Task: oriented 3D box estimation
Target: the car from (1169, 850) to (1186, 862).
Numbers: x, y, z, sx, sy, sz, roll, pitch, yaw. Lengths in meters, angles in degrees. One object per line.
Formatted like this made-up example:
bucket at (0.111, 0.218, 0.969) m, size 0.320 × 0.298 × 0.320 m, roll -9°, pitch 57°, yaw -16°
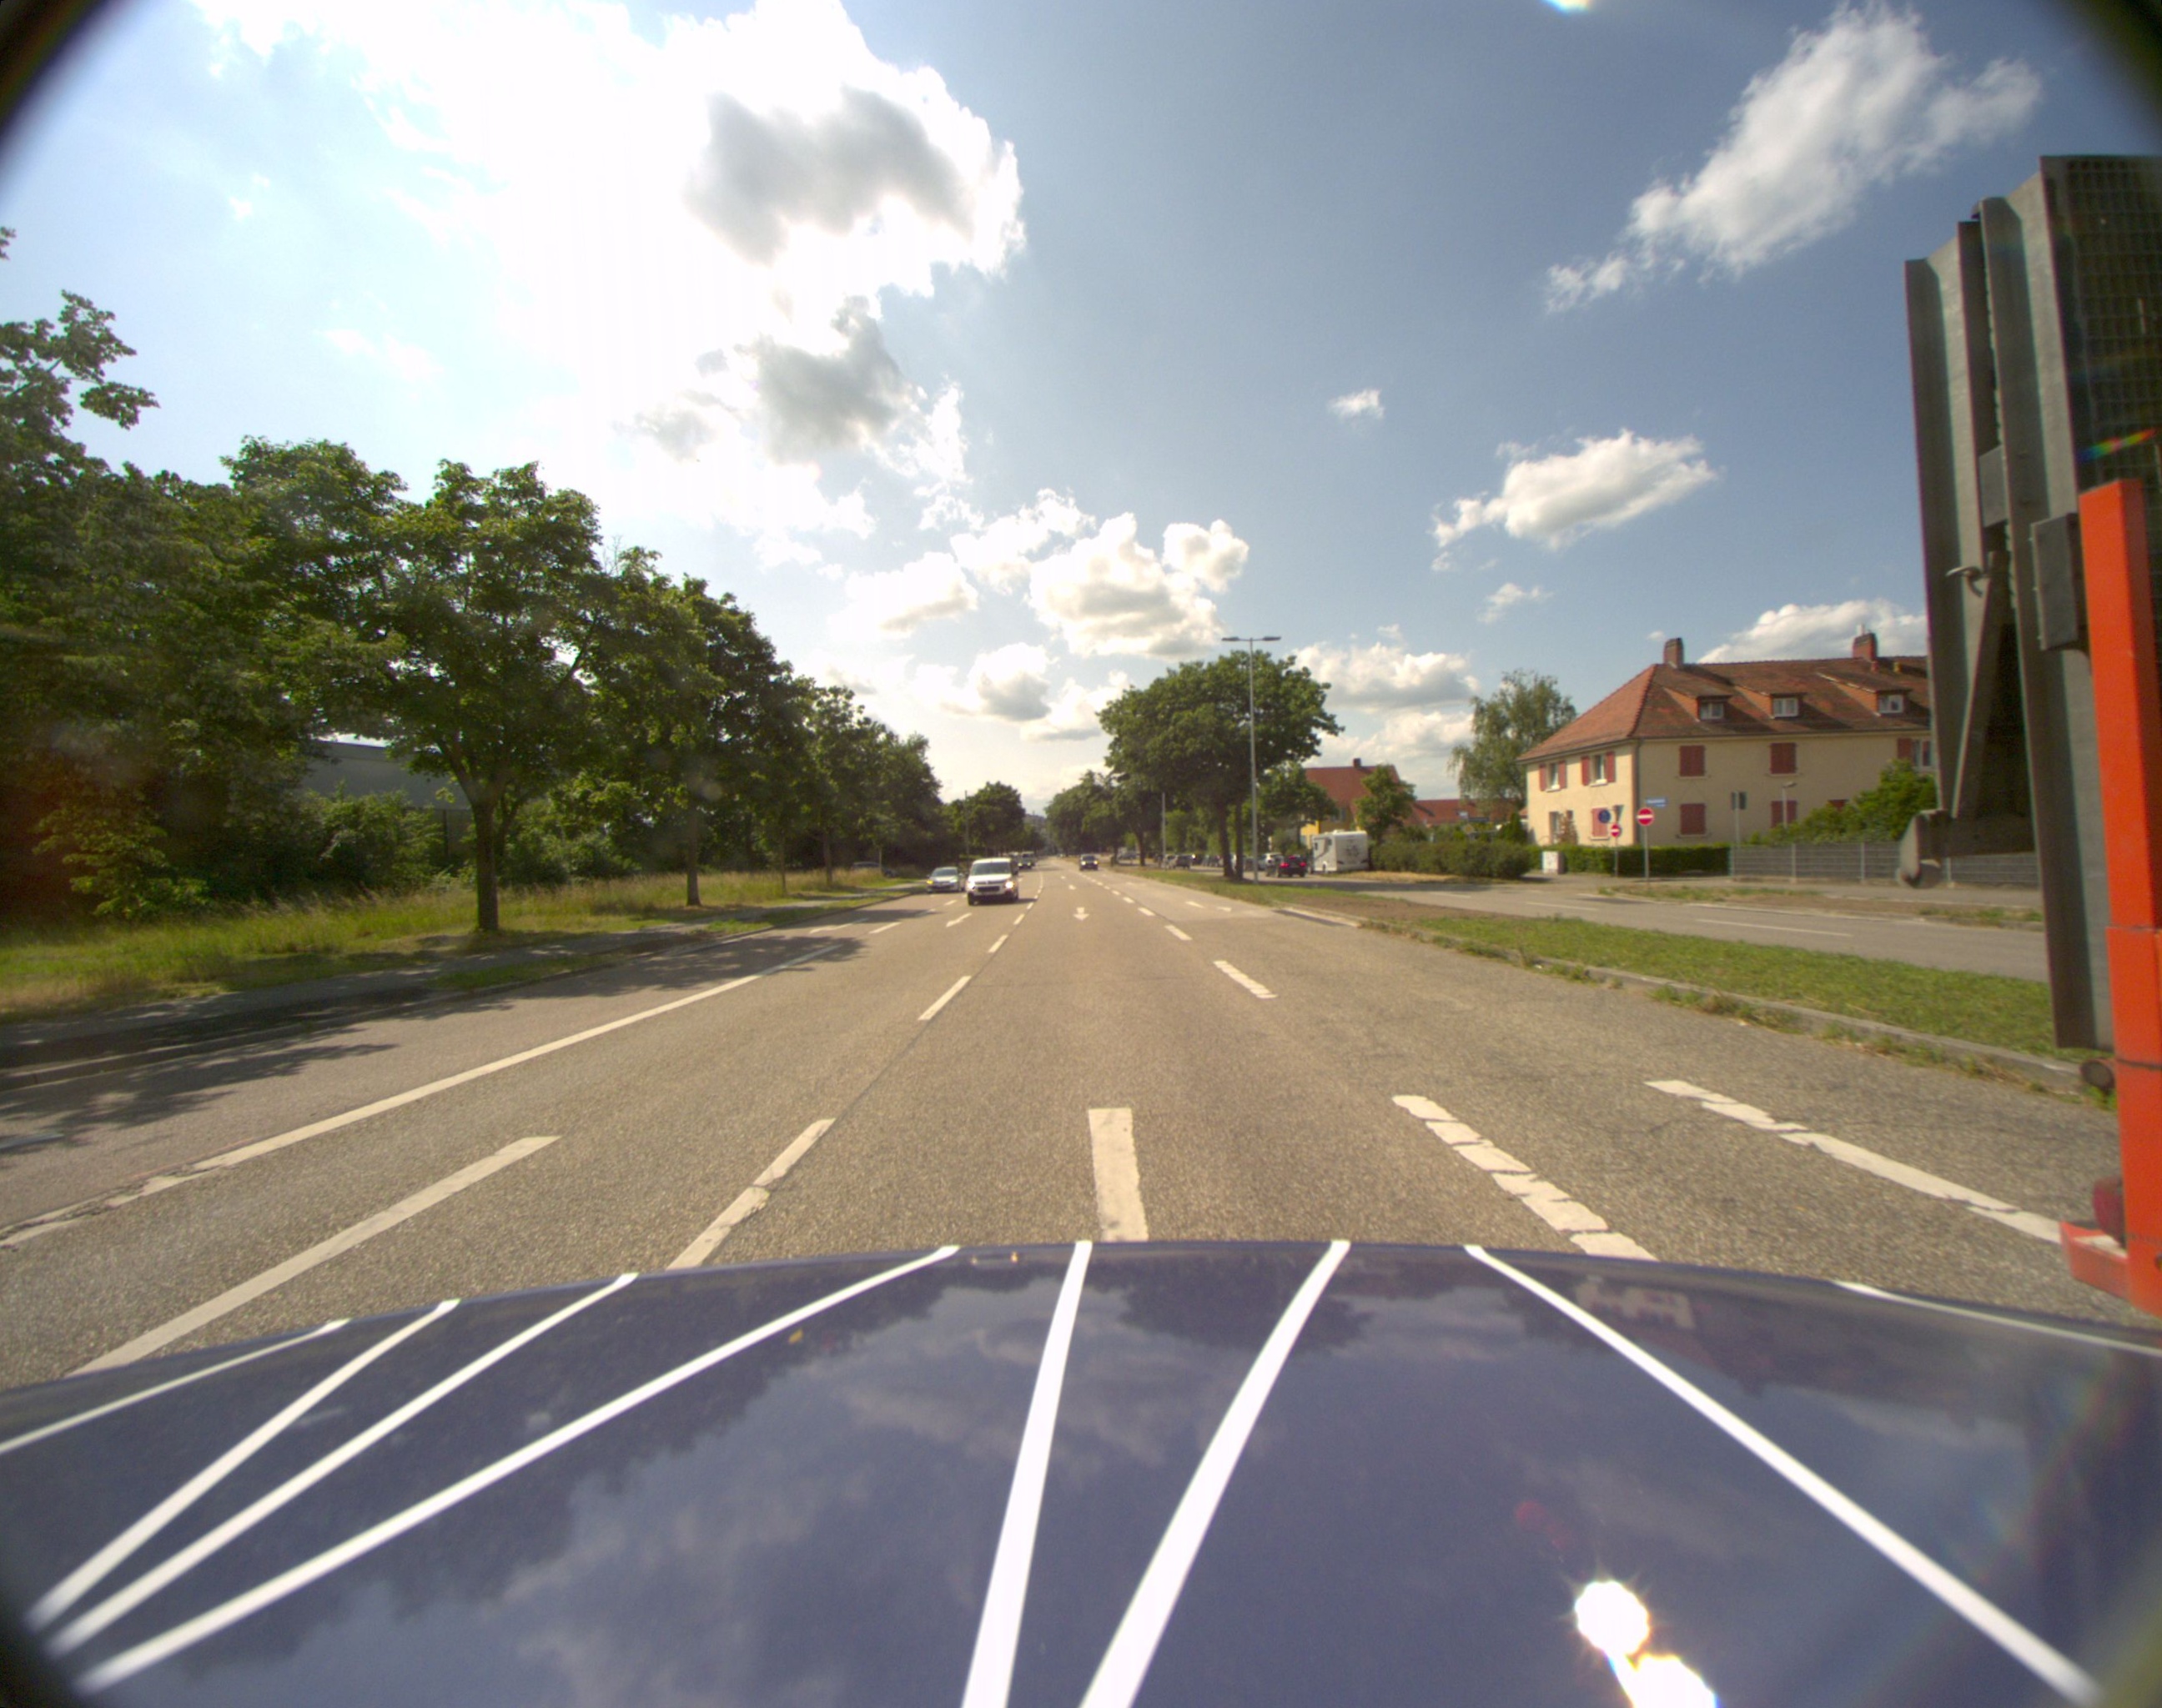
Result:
car at (14.876, 0.258, 117.377) m, size 1.665 × 1.603 × 4.312 m, roll -4°, pitch 1°, yaw -4°

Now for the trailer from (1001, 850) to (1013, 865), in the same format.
trailer at (-12.256, 0.598, 126.079) m, size 1.958 × 2.338 × 4.603 m, roll -1°, pitch 1°, yaw -4°

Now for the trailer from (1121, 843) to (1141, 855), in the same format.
trailer at (14.025, -1.499, 212.253) m, size 2.821 × 3.090 × 5.763 m, roll -4°, pitch 0°, yaw 35°

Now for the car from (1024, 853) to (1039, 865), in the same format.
car at (-7.048, 0.709, 108.007) m, size 1.758 × 1.482 × 3.999 m, roll -4°, pitch 1°, yaw 1°

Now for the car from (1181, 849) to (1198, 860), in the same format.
car at (15.715, 0.100, 110.440) m, size 1.665 × 1.443 × 3.845 m, roll -4°, pitch 1°, yaw -4°

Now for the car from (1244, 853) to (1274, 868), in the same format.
car at (16.955, 0.580, 72.544) m, size 1.640 × 1.298 × 4.583 m, roll -4°, pitch 0°, yaw -1°

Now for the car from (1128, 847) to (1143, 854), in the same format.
car at (13.828, -0.878, 192.466) m, size 1.569 × 1.390 × 4.007 m, roll -2°, pitch 2°, yaw 45°

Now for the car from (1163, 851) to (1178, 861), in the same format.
car at (14.514, 0.274, 123.406) m, size 1.598 × 1.453 × 3.533 m, roll -4°, pitch 1°, yaw -4°

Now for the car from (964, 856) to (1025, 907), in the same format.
car at (-3.395, 1.033, 30.629) m, size 1.936 × 1.774 × 4.715 m, roll -4°, pitch 0°, yaw -2°

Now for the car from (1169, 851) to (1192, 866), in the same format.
car at (10.548, 0.459, 80.858) m, size 1.737 × 1.499 × 4.651 m, roll 1°, pitch 1°, yaw -1°

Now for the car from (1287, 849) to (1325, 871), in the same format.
car at (17.553, 0.428, 59.340) m, size 1.640 × 1.477 × 3.991 m, roll -4°, pitch 1°, yaw -1°

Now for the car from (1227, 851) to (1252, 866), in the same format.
car at (16.444, 0.440, 79.190) m, size 1.514 × 1.362 × 4.530 m, roll -4°, pitch 0°, yaw -1°

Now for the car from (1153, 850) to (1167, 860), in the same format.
car at (13.937, 0.157, 134.179) m, size 1.772 × 1.543 × 3.998 m, roll -4°, pitch 1°, yaw -4°

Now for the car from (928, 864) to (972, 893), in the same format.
car at (-7.465, 1.361, 43.682) m, size 1.737 × 1.477 × 4.092 m, roll -2°, pitch 0°, yaw 0°

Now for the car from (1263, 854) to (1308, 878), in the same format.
car at (13.446, 0.747, 50.220) m, size 1.776 × 1.430 × 4.575 m, roll -1°, pitch 1°, yaw 0°

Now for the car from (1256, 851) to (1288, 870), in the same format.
car at (16.969, 0.520, 67.674) m, size 1.693 × 1.477 × 4.123 m, roll -4°, pitch 1°, yaw -1°

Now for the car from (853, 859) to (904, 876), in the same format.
car at (-18.261, 1.241, 68.739) m, size 4.176 × 1.484 × 1.784 m, roll 1°, pitch -2°, yaw -7°

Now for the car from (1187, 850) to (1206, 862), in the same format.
car at (15.578, 0.221, 102.761) m, size 1.665 × 1.473 × 4.102 m, roll -4°, pitch 0°, yaw -4°

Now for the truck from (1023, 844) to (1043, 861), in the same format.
truck at (-8.427, -0.271, 134.208) m, size 2.848 × 2.648 × 7.350 m, roll -4°, pitch 1°, yaw 1°

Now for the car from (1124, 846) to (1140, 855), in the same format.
car at (13.209, -0.969, 195.304) m, size 1.800 × 2.002 × 4.007 m, roll -2°, pitch 2°, yaw 45°

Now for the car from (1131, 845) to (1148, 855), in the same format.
car at (14.365, -0.958, 187.192) m, size 1.800 × 2.002 × 4.007 m, roll -2°, pitch 2°, yaw 45°

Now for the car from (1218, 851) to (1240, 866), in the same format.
car at (16.461, 0.490, 84.661) m, size 1.406 × 1.548 × 3.741 m, roll -4°, pitch 1°, yaw -3°

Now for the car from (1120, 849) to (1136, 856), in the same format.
car at (12.393, -0.409, 200.158) m, size 3.998 × 1.502 × 1.799 m, roll -4°, pitch 1°, yaw -2°

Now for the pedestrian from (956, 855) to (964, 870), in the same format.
pedestrian at (-15.367, 1.068, 96.537) m, size 0.719 × 1.784 × 0.739 m, roll -4°, pitch 2°, yaw -4°

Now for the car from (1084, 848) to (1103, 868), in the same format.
car at (1.320, 0.359, 80.134) m, size 1.768 × 1.893 × 4.539 m, roll -4°, pitch 1°, yaw -1°

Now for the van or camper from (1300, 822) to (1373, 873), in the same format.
van or camper at (17.314, -0.420, 52.074) m, size 2.265 × 3.094 × 7.319 m, roll -4°, pitch 0°, yaw -1°

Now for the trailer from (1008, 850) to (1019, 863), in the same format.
trailer at (-13.022, 0.391, 146.886) m, size 1.999 × 2.352 × 4.780 m, roll 2°, pitch 1°, yaw -3°

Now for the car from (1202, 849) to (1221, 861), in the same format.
car at (16.120, 0.134, 94.115) m, size 1.567 × 1.387 × 3.476 m, roll -4°, pitch 1°, yaw -3°
